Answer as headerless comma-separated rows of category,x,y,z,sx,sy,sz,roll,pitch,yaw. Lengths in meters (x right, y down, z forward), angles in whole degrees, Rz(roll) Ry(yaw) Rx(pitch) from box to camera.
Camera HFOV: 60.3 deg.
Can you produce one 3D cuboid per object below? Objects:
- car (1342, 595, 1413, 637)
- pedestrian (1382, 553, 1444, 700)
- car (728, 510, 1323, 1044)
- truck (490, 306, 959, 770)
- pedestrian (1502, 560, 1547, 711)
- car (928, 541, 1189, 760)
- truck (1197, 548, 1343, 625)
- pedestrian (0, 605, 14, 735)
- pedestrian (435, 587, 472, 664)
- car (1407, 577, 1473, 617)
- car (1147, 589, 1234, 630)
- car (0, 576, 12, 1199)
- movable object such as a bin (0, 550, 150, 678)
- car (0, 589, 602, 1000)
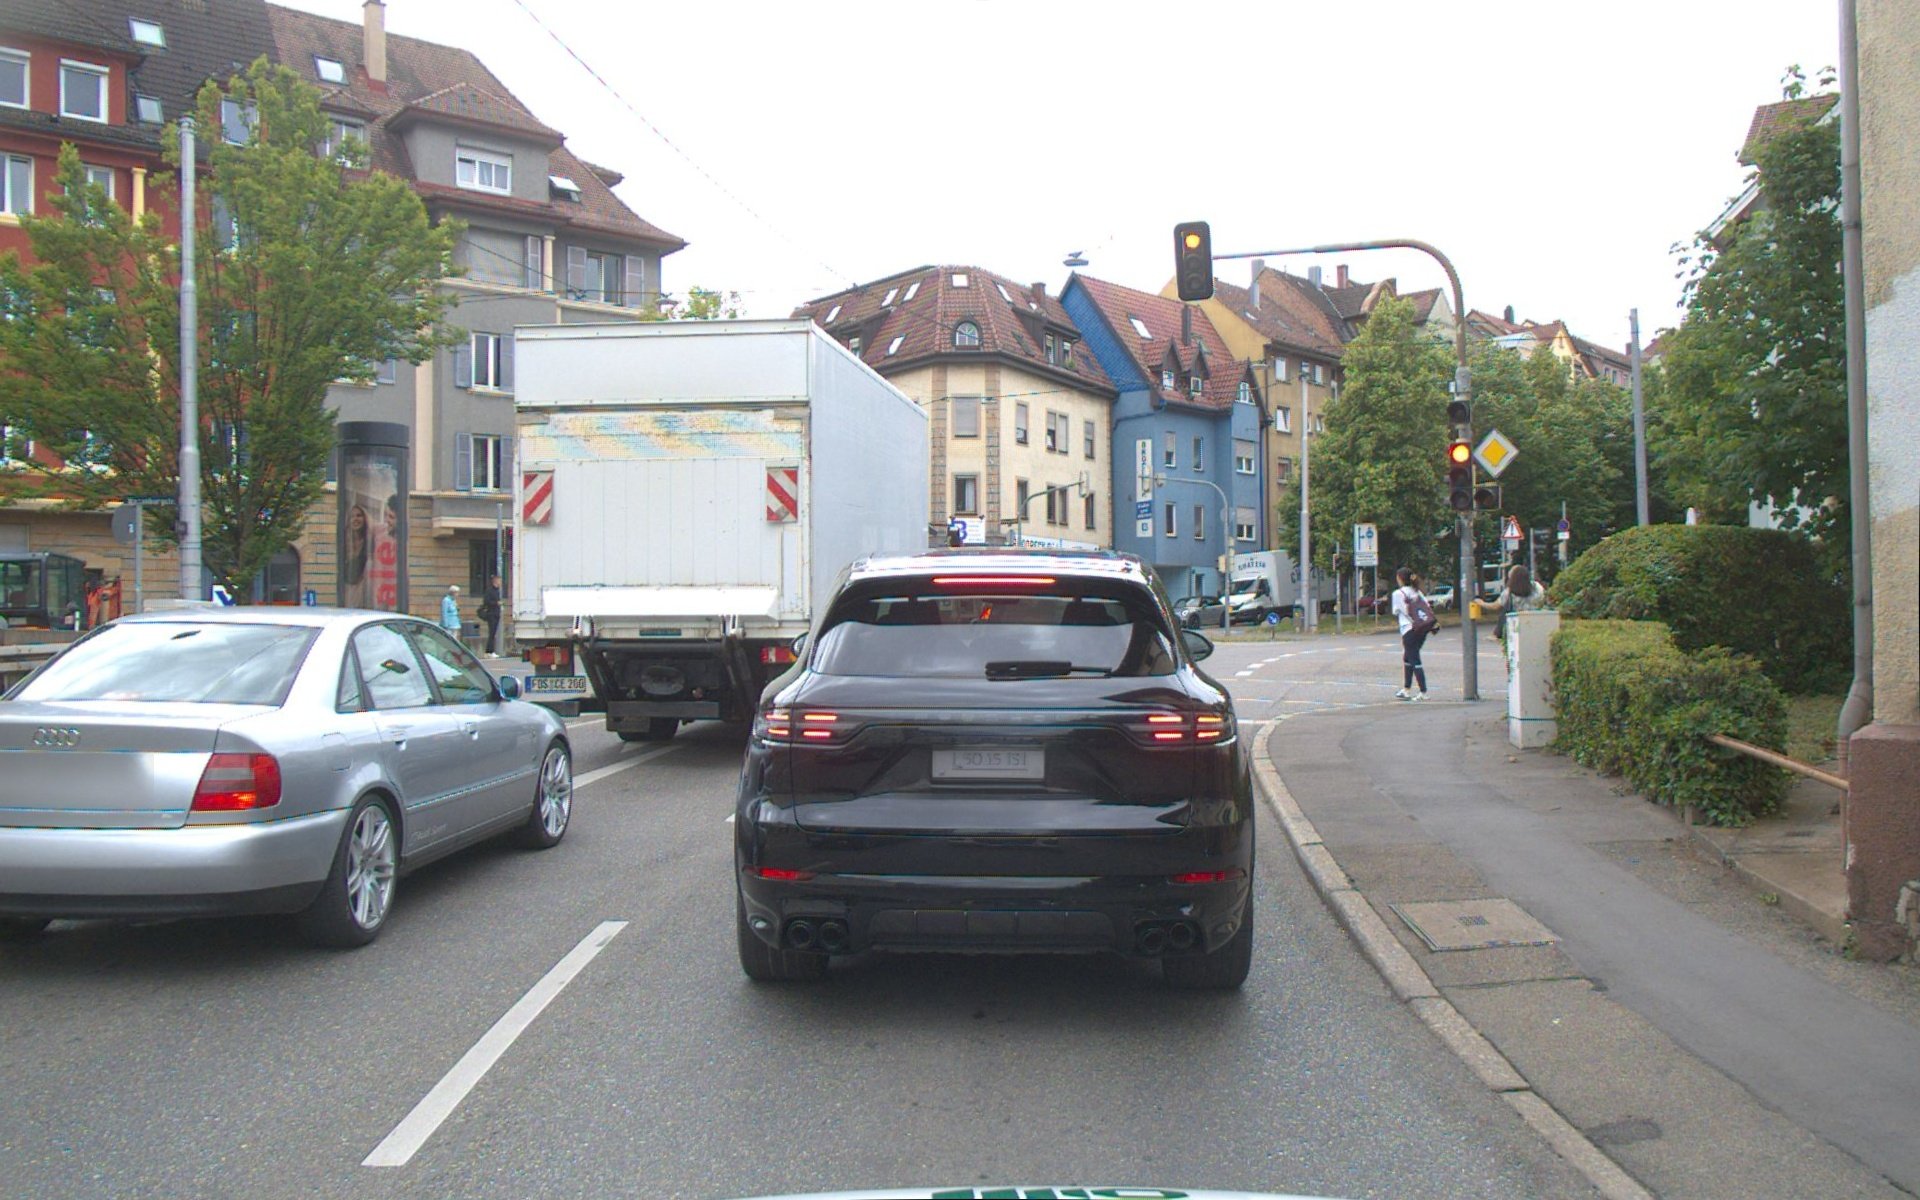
car,21.900,0.848,86.655,1.965,2.049,3.975,2,0,42
pedestrian,5.832,0.344,21.307,0.578,1.851,0.528,2,-1,-6
car,0.103,0.543,7.370,1.939,1.713,3.997,0,1,-4
truck,-1.901,-0.540,17.150,2.710,3.637,8.071,0,1,8
pedestrian,7.109,0.446,20.836,0.453,1.869,0.324,2,-1,14
car,1.042,0.395,15.077,1.951,1.713,4.003,0,0,10
truck,14.852,-0.601,78.676,2.830,3.398,8.744,2,0,41
pedestrian,-13.276,0.945,22.567,0.537,1.760,0.586,2,-1,-35
pedestrian,-10.662,0.526,34.798,0.577,1.594,0.486,2,-1,-1
car,26.607,-0.177,91.594,1.965,2.049,3.975,2,0,42
car,10.056,0.414,72.021,1.963,1.713,3.978,0,0,40
car,-2.587,0.686,0.816,1.712,1.480,4.445,0,0,-1
movable object such as a bin,-14.065,0.179,25.585,1.870,1.802,3.986,2,0,-14
car,-3.123,0.676,7.987,1.660,1.397,4.180,0,1,3
